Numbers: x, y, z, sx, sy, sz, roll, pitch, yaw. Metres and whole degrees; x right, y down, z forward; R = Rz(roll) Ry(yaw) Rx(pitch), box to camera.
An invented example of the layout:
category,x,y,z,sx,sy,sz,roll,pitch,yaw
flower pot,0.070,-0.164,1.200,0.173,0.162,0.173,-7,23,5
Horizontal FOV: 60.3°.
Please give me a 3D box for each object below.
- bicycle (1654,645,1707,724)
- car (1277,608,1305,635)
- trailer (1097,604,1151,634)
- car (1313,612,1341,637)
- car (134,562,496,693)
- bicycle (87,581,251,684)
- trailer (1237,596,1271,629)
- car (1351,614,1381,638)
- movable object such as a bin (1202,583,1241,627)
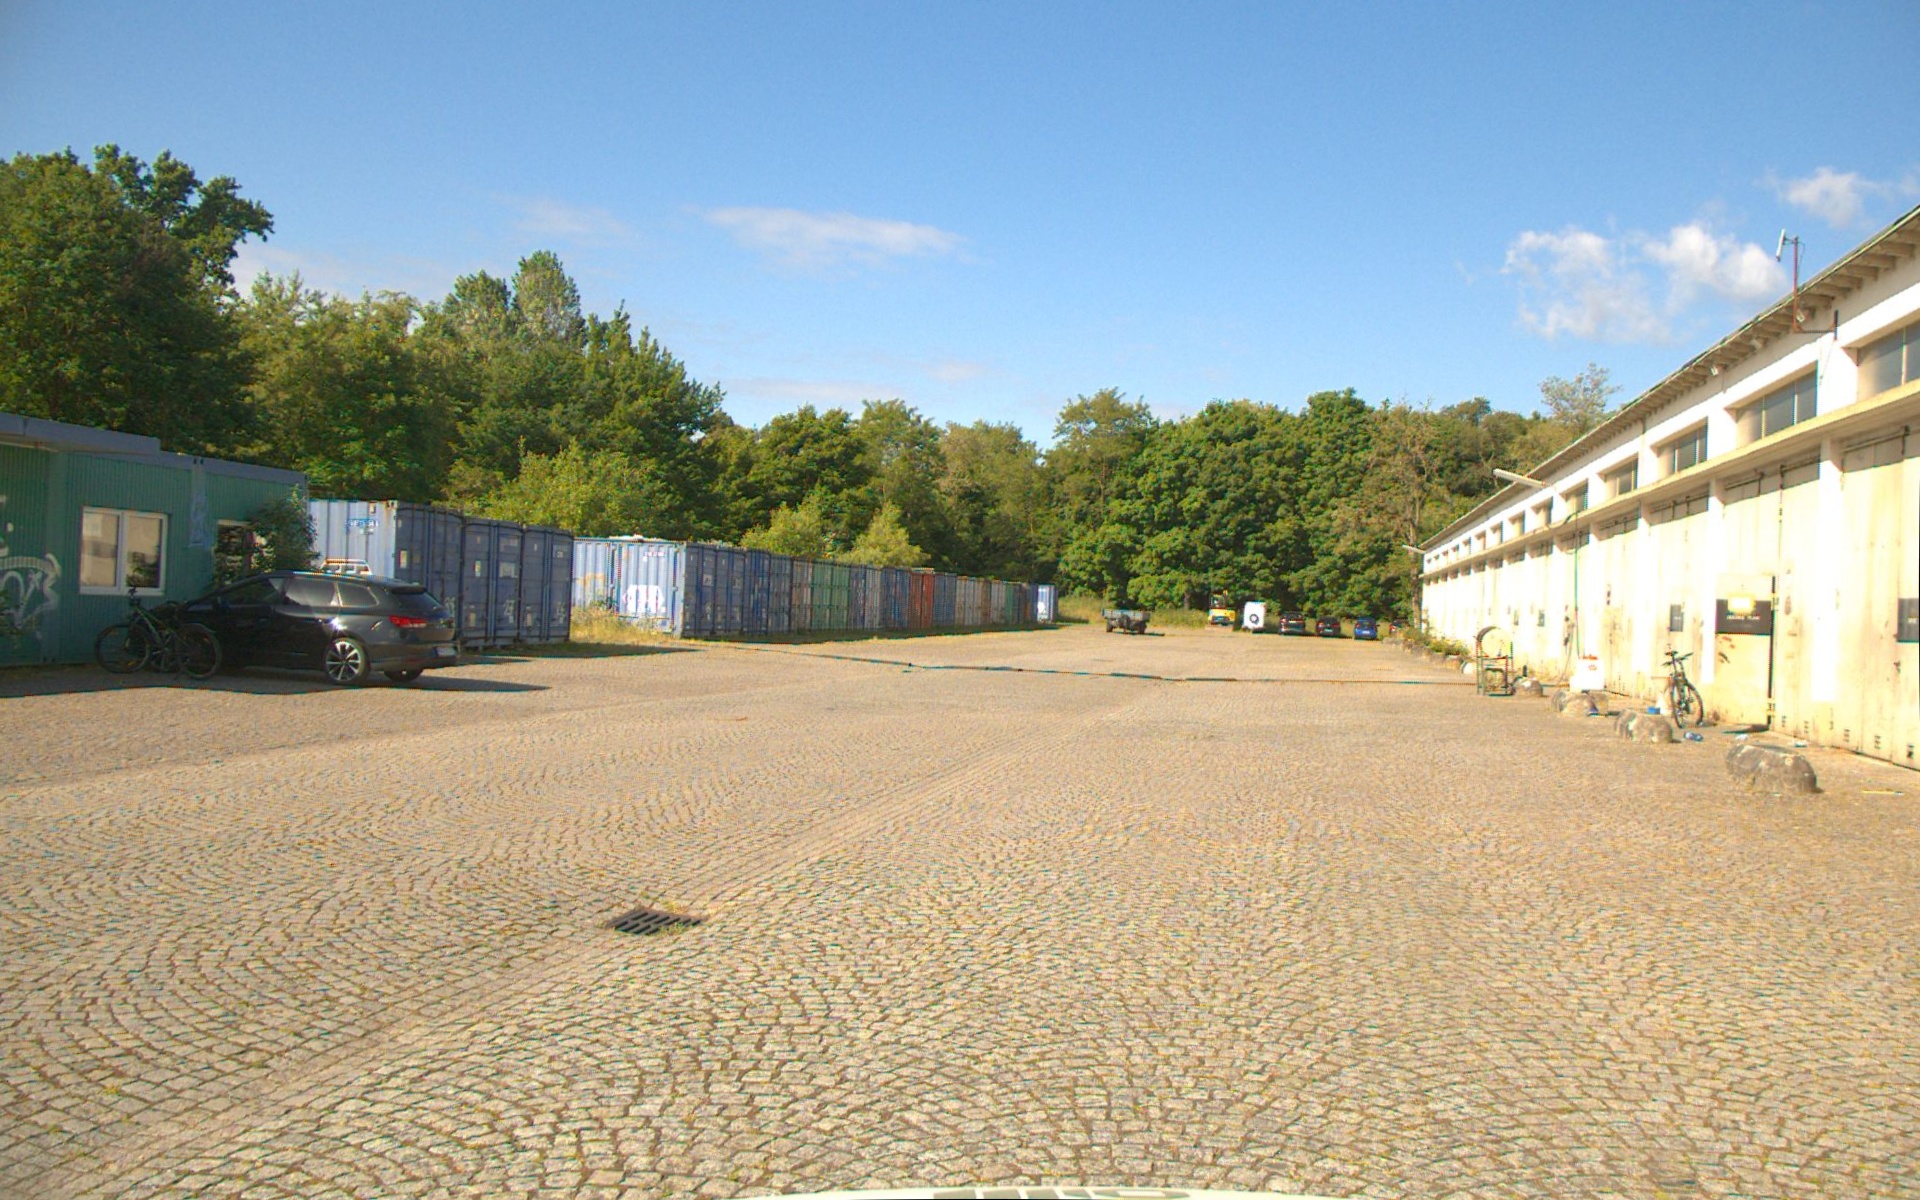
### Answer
category,x,y,z,sx,sy,sz,roll,pitch,yaw
bicycle,10.757,1.237,24.687,0.651,1.086,1.823,3,0,24
car,23.167,1.499,115.758,1.824,1.616,4.300,4,2,12
trailer,9.988,1.118,100.515,2.648,1.491,6.253,4,1,11
car,25.619,1.686,115.592,1.824,1.495,4.300,4,2,12
car,-8.790,0.359,22.715,4.161,1.474,1.933,3,0,10
bicycle,-10.089,0.404,21.126,1.765,1.190,0.669,3,-1,10
trailer,21.104,0.879,118.654,2.147,2.131,5.756,4,2,12
car,28.249,1.807,114.946,1.708,1.461,4.185,4,2,17
movable object such as a bin,18.973,0.346,119.737,2.257,2.946,5.756,4,2,13
